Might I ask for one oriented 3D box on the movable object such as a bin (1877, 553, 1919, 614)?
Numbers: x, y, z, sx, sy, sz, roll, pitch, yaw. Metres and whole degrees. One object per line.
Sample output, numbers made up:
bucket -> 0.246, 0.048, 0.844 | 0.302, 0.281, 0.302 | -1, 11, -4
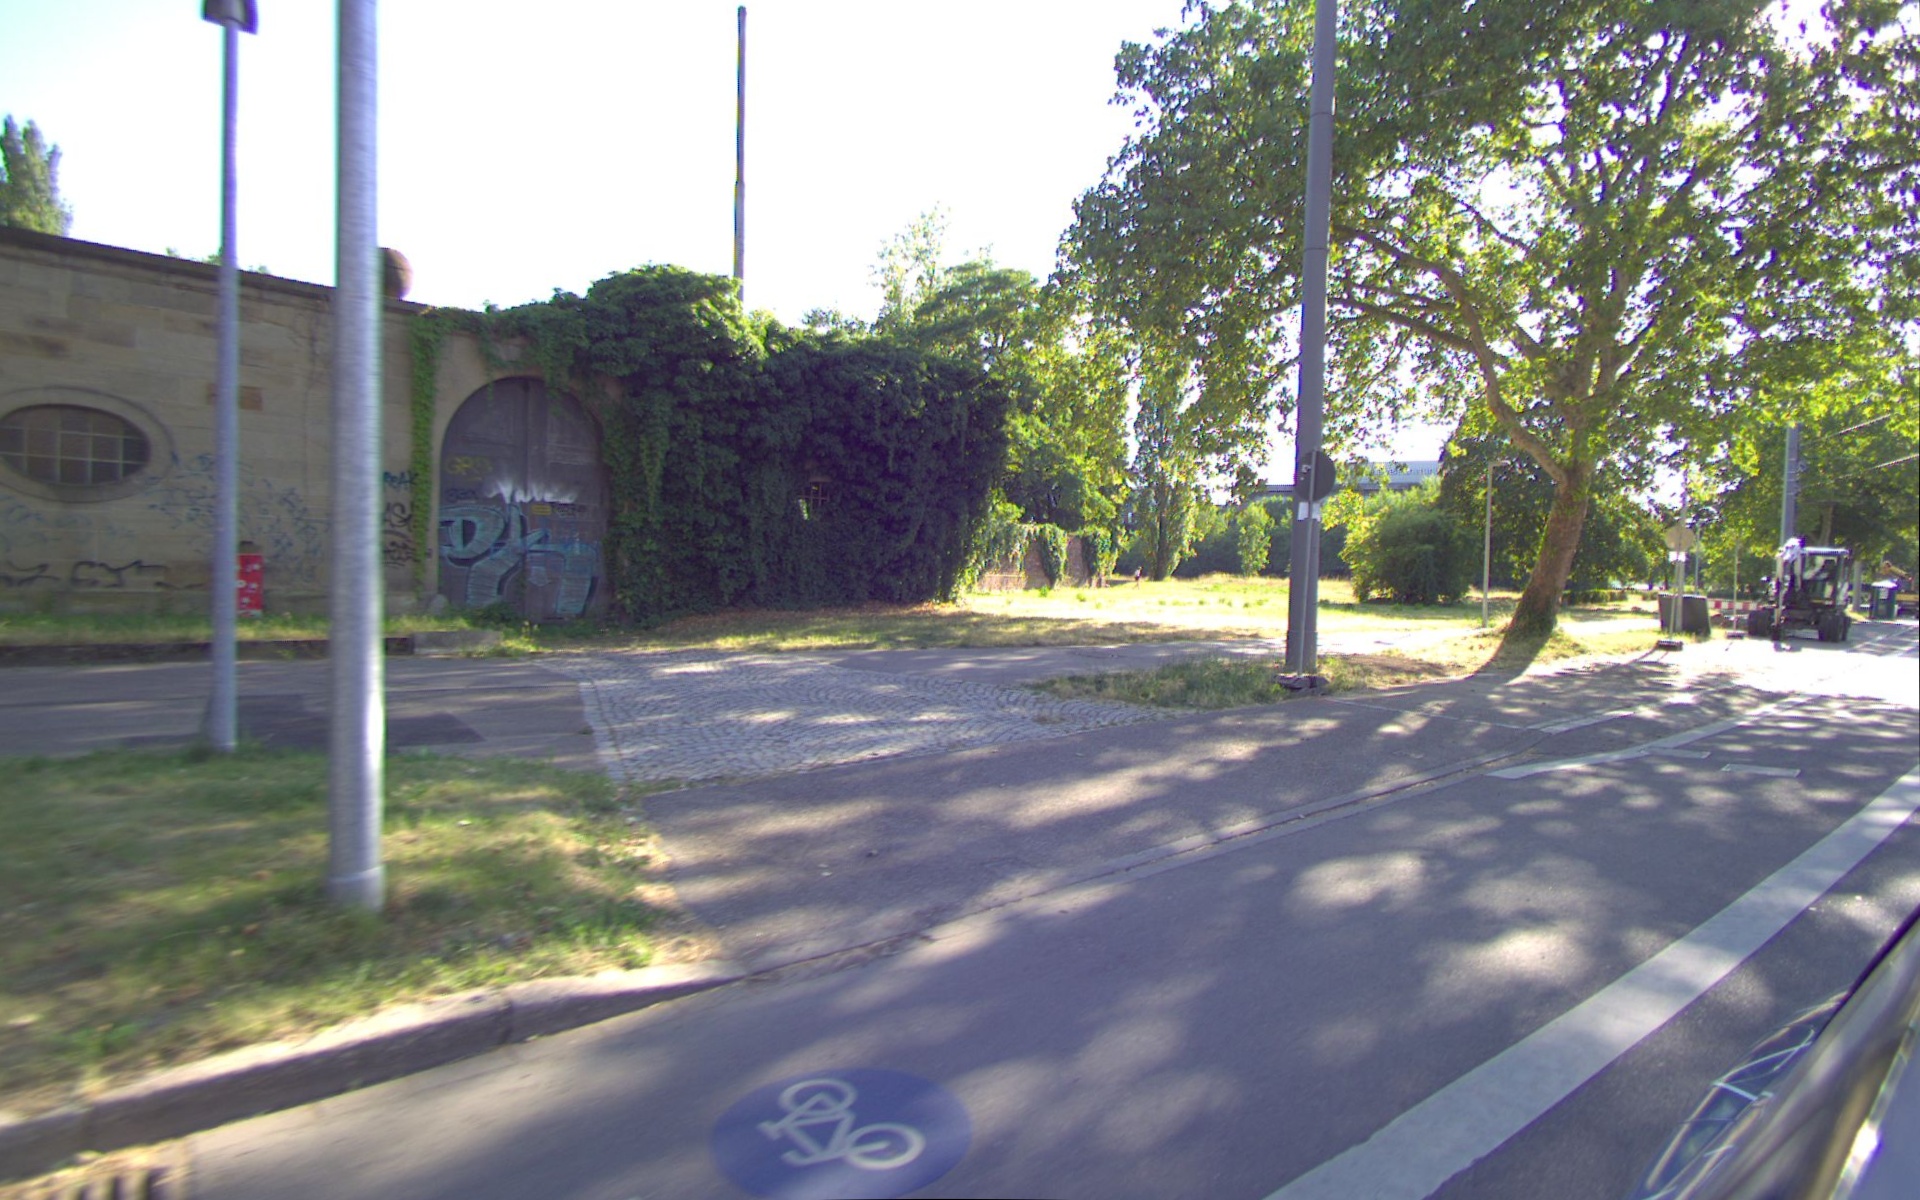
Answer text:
movable object such as a bin -> 68.053, -1.098, 72.148 | 3.342, 4.023, 7.476 | 8, 5, 44

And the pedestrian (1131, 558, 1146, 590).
pedestrian -> 11.579, -1.703, 65.753 | 0.854, 2.039, 1.263 | 0, 1, 15

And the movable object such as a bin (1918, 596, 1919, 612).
movable object such as a bin -> 82.834, -1.194, 85.013 | 2.918, 4.664, 7.476 | 8, 5, 44

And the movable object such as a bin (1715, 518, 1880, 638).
movable object such as a bin -> 26.087, -0.657, 31.390 | 7.096, 3.182, 2.750 | 1, 5, -43
